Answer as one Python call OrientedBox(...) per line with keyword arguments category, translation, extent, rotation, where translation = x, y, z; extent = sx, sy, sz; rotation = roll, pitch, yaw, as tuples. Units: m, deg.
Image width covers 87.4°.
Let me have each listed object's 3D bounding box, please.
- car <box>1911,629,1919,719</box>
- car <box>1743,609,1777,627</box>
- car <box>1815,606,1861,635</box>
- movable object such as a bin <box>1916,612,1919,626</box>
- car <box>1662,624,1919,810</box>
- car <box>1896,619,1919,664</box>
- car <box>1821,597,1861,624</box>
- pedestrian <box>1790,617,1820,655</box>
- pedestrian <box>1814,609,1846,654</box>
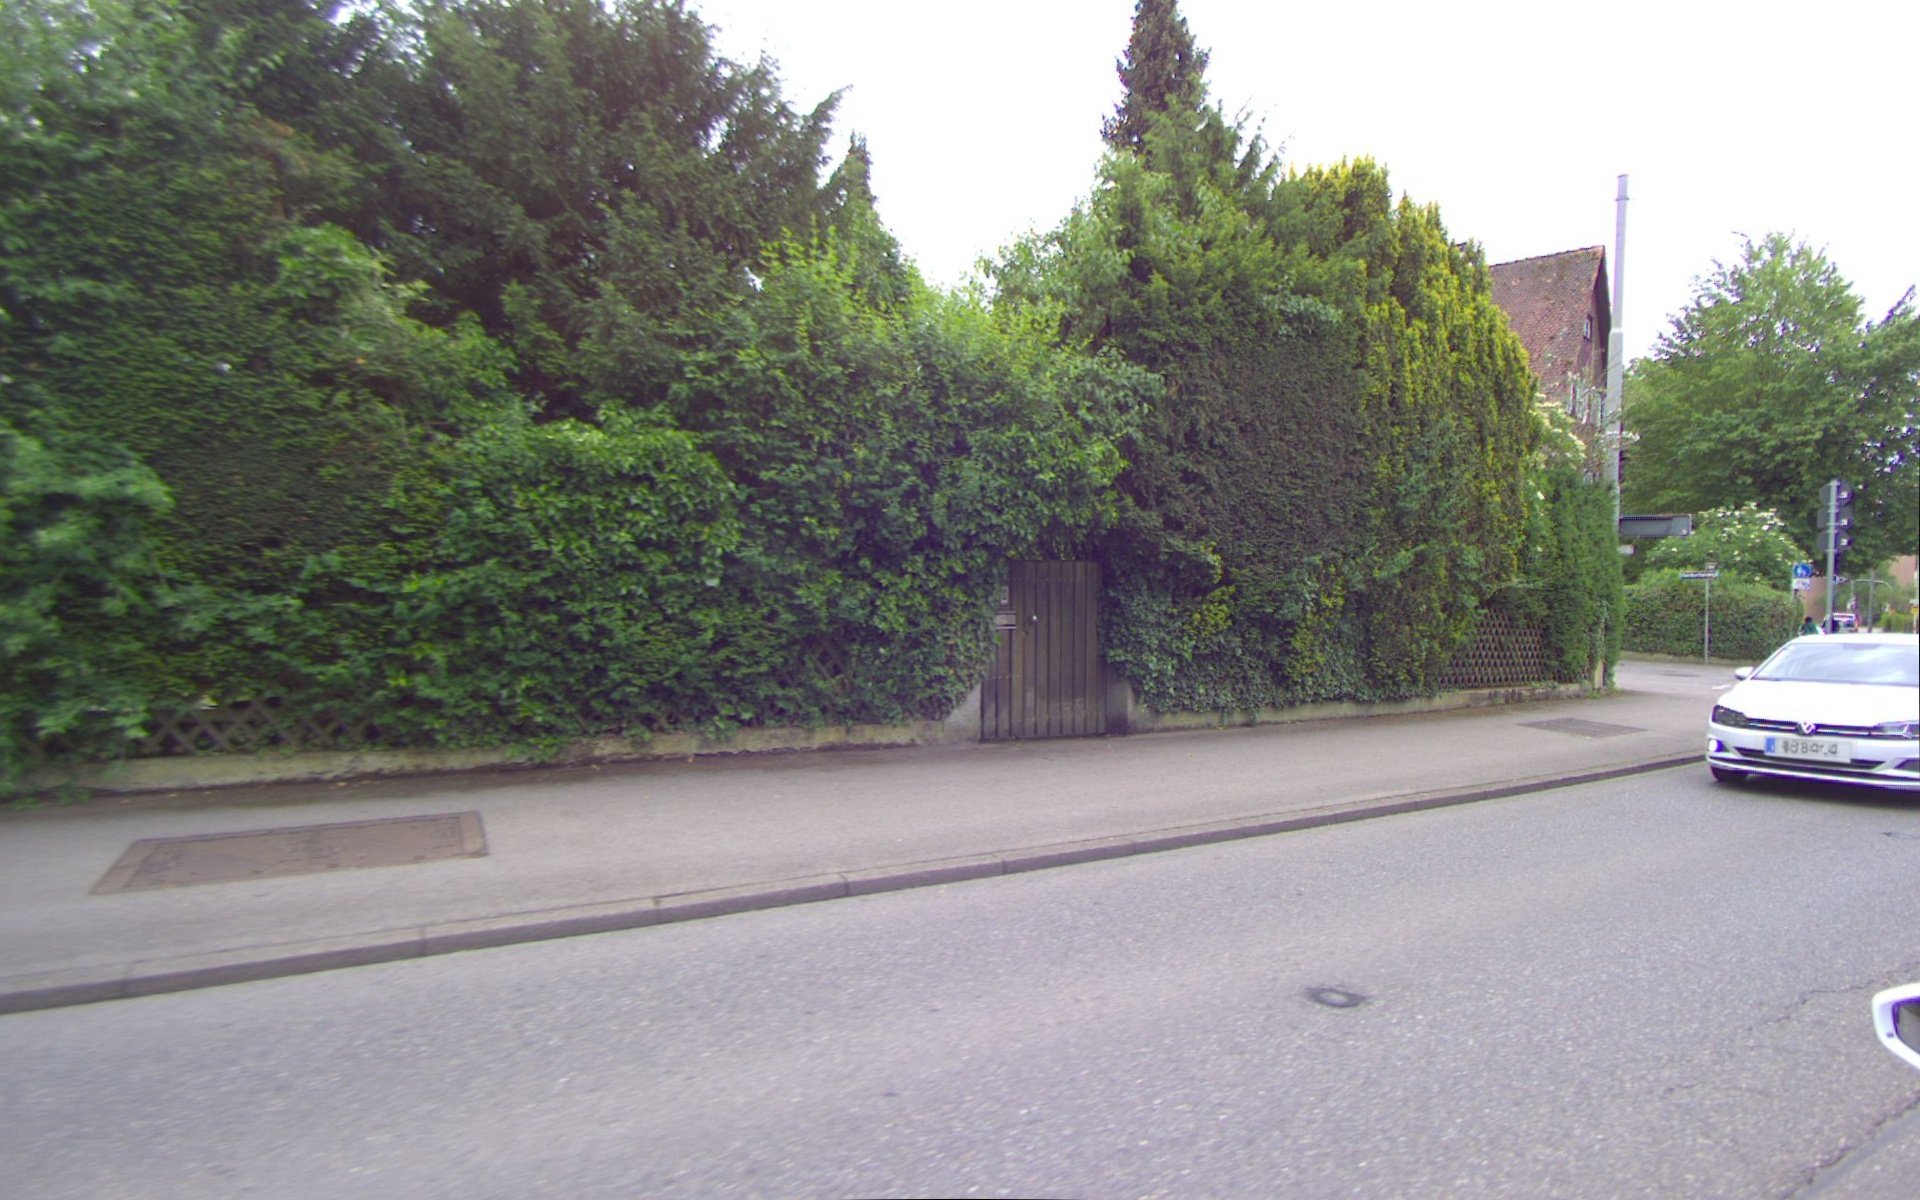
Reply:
OrientedBox(category="car", translation=(17.148, 1.197, 16.381), extent=(3.876, 1.417, 1.898), rotation=(1, 0, -39))
OrientedBox(category="car", translation=(67.878, 1.508, 85.267), extent=(1.694, 1.491, 3.525), rotation=(0, 0, 29))
OrientedBox(category="car", translation=(57.555, 1.337, 65.832), extent=(3.973, 1.729, 1.874), rotation=(1, 1, -44))
OrientedBox(category="movable object such as a bin", translation=(77.891, 1.564, 81.102), extent=(0.702, 1.088, 0.682), rotation=(4, 1, -2))
OrientedBox(category="car", translation=(8.682, 0.972, 9.758), extent=(3.758, 1.473, 1.890), rotation=(1, -2, -35))
OrientedBox(category="car", translation=(32.739, 1.384, 33.343), extent=(1.783, 1.462, 4.186), rotation=(0, -1, 34))
OrientedBox(category="car", translation=(72.405, 0.838, 82.502), extent=(4.397, 2.041, 1.943), rotation=(0, 5, -44))
OrientedBox(category="pedestrian", translation=(33.108, 1.422, 39.367), extent=(0.658, 1.468, 0.757), rotation=(-1, -1, 20))
OrientedBox(category="pedestrian", translation=(33.865, 1.224, 39.121), extent=(0.618, 1.684, 0.919), rotation=(2, 0, 21))
